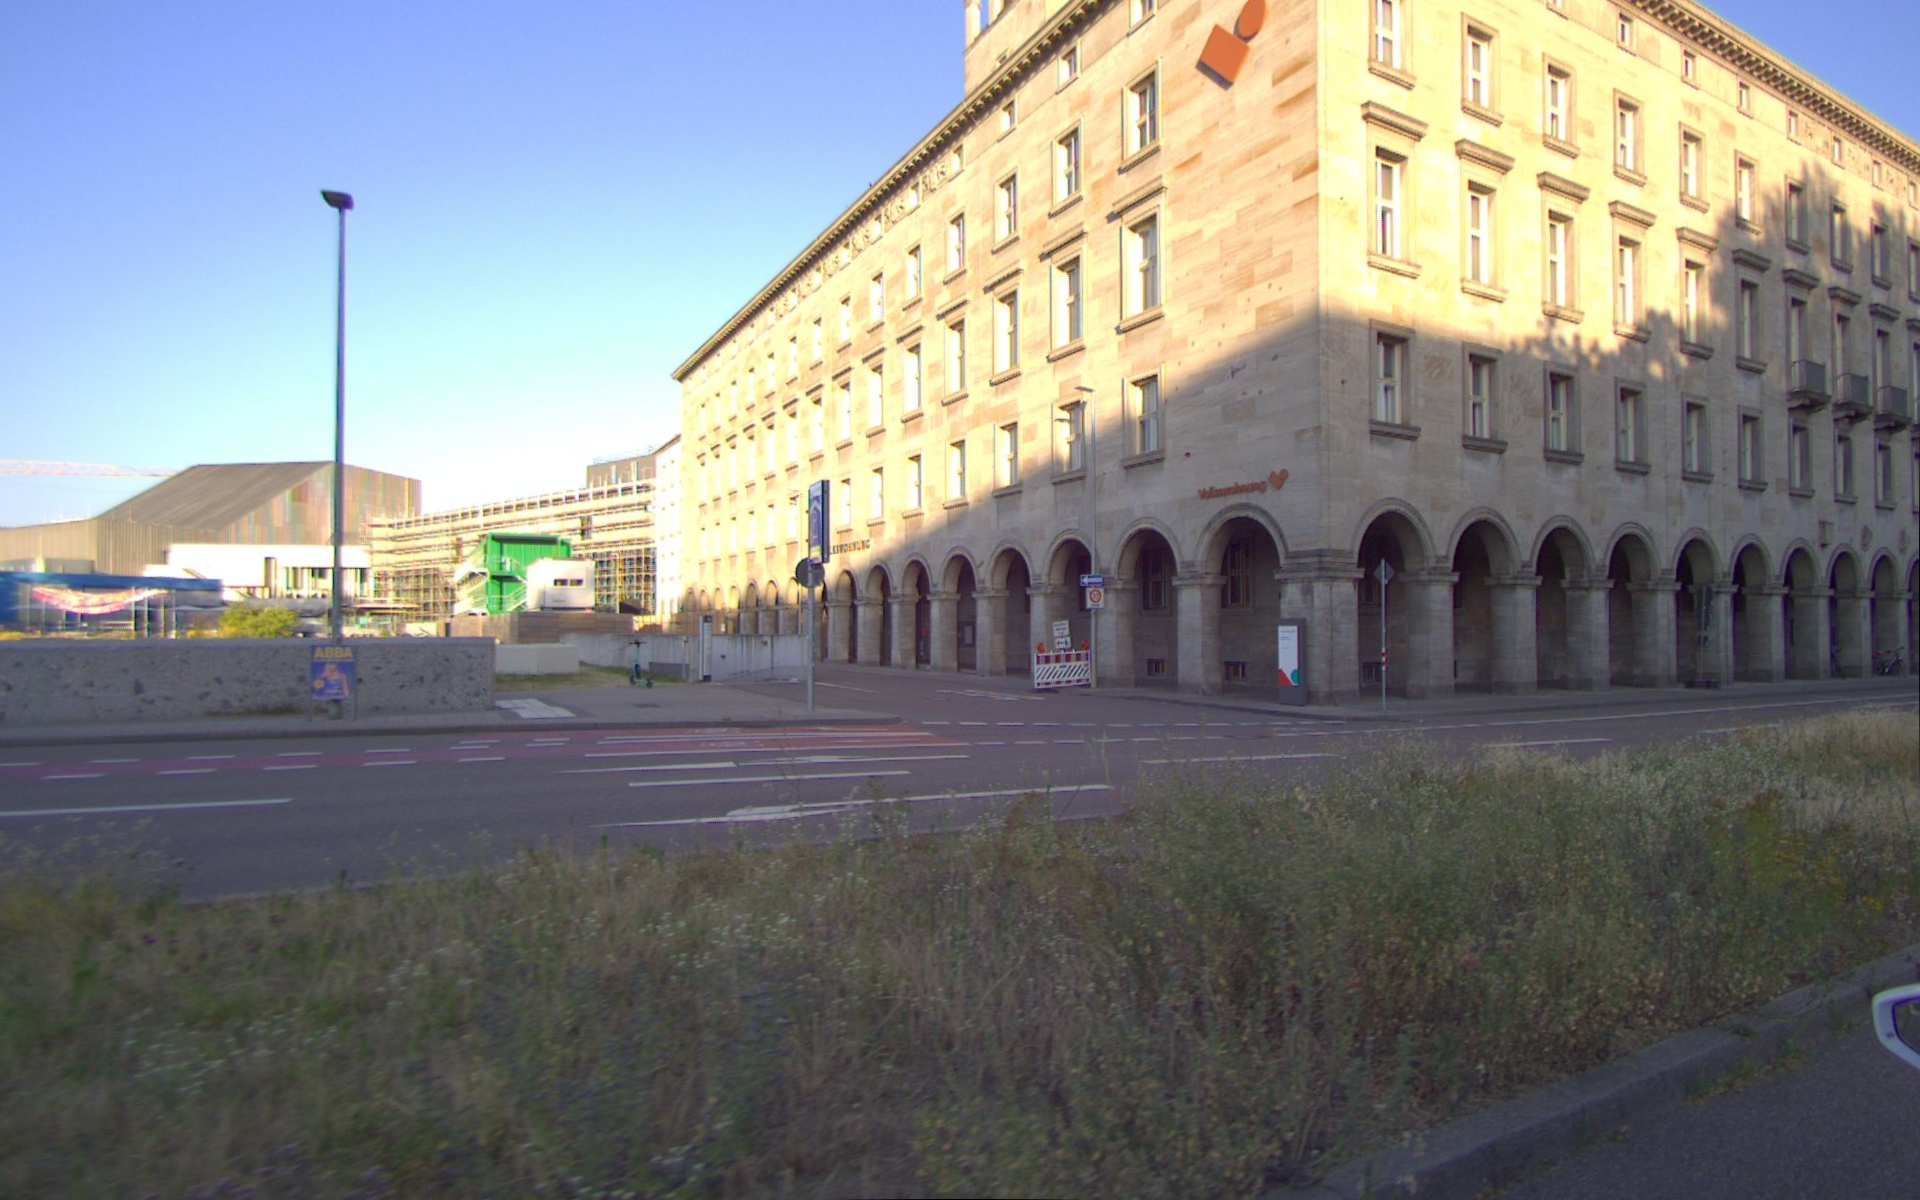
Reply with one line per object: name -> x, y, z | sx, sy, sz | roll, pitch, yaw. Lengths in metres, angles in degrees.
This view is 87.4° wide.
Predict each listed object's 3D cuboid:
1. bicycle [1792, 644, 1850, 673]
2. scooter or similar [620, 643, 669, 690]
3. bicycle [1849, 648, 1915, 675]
bicycle -> 31.246, 2.128, 36.467 | 1.969, 1.019, 0.478 | 0, -2, -11
scooter or similar -> -8.498, 1.772, 27.021 | 1.544, 1.240, 0.543 | -2, -2, 42
bicycle -> 35.631, 2.387, 38.821 | 1.964, 1.019, 0.479 | 0, -2, 6
